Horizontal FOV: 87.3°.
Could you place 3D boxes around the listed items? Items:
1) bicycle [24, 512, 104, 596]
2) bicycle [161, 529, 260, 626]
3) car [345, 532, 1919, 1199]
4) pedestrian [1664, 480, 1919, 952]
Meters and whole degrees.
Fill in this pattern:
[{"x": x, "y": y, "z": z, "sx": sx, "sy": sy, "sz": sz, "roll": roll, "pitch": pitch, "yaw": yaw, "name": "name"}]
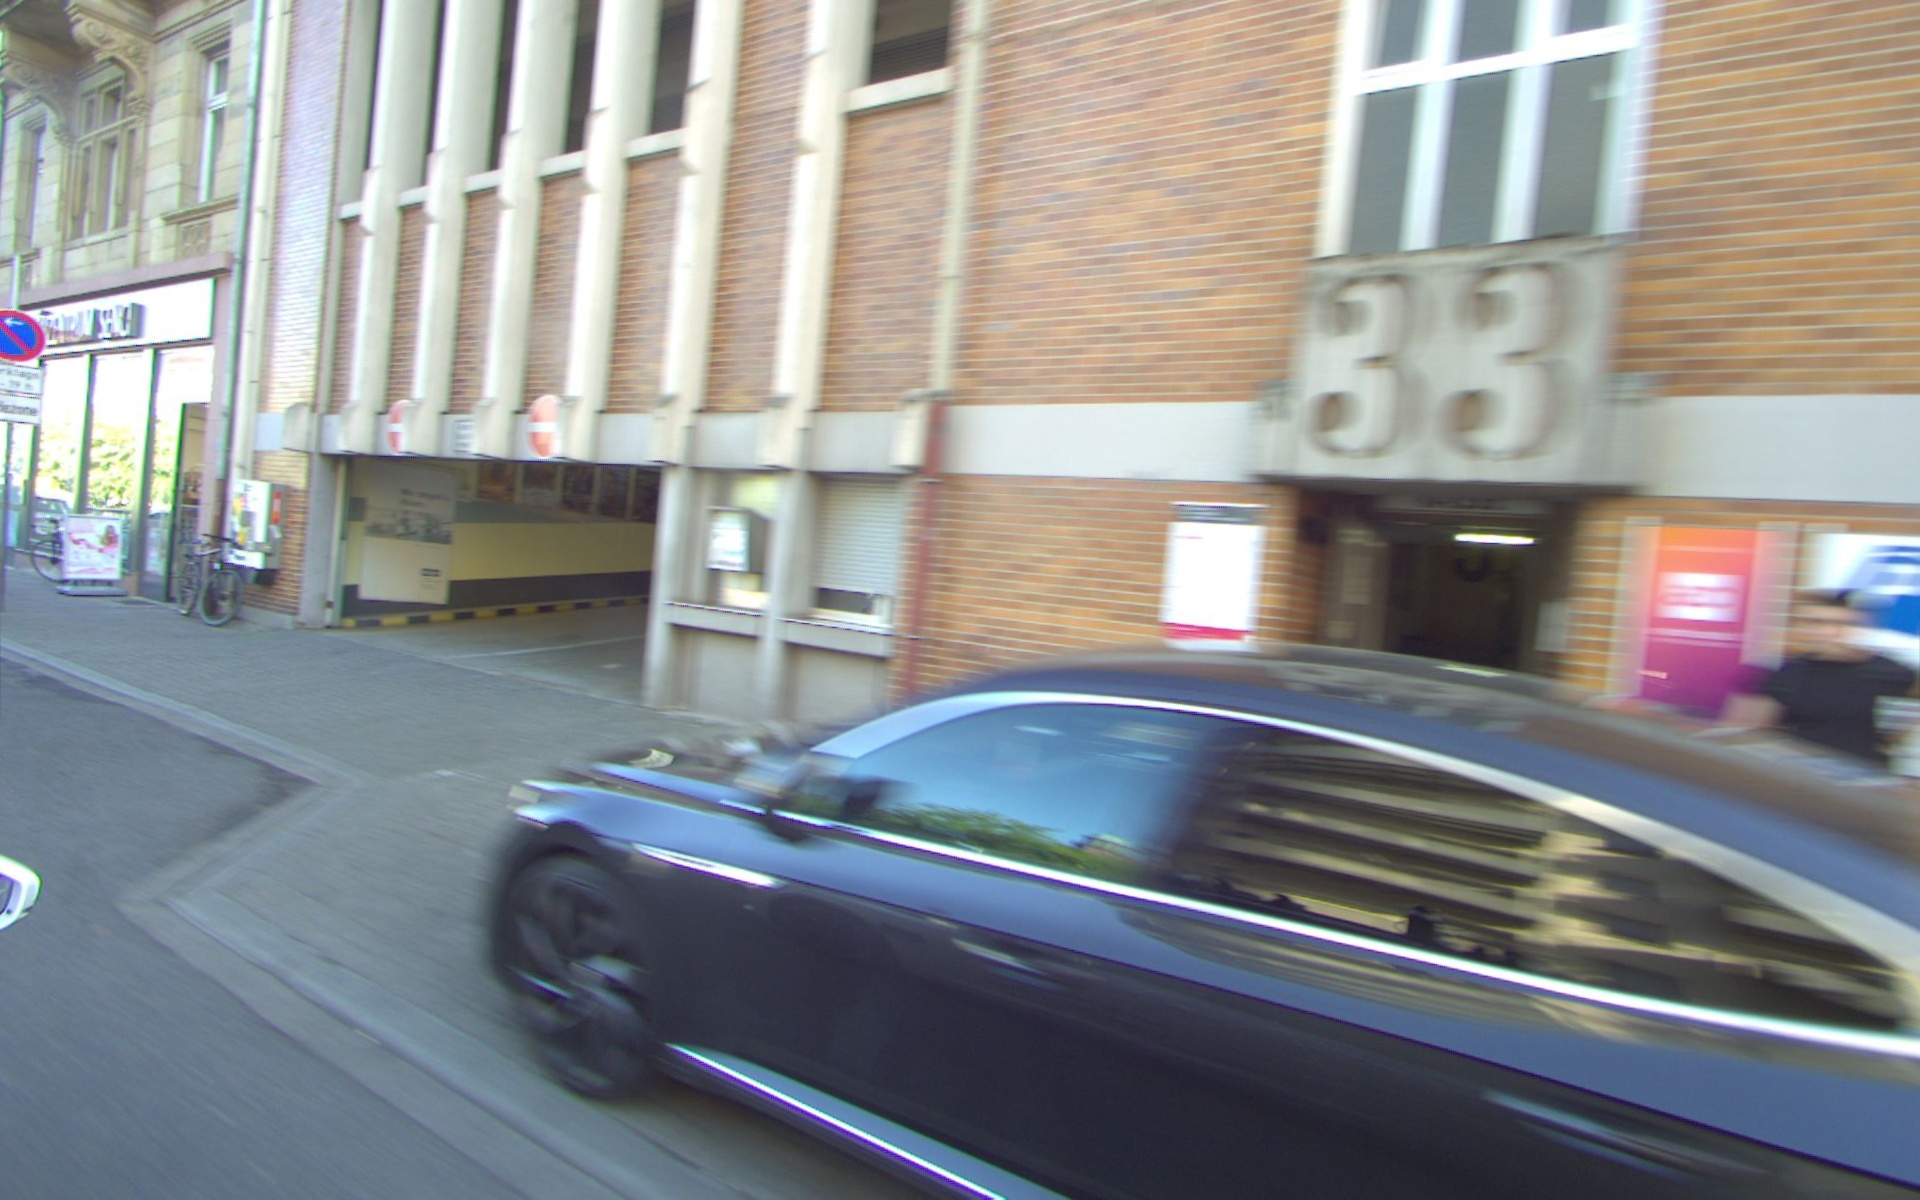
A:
[{"x": -13.551, "y": -0.707, "z": 15.195, "sx": 1.909, "sy": 1.100, "sz": 0.358, "roll": 7, "pitch": 4, "yaw": 32, "name": "bicycle"}, {"x": -9.395, "y": -0.295, "z": 12.585, "sx": 1.761, "sy": 1.059, "sz": 0.358, "roll": 7, "pitch": 4, "yaw": 32, "name": "bicycle"}, {"x": 0.572, "y": 0.761, "z": 2.744, "sx": 4.883, "sy": 1.500, "sz": 1.915, "roll": 7, "pitch": 5, "yaw": 33, "name": "car"}, {"x": 3.455, "y": 0.413, "z": 3.986, "sx": 0.875, "sy": 1.658, "sz": 0.691, "roll": 7, "pitch": 4, "yaw": 32, "name": "pedestrian"}]
